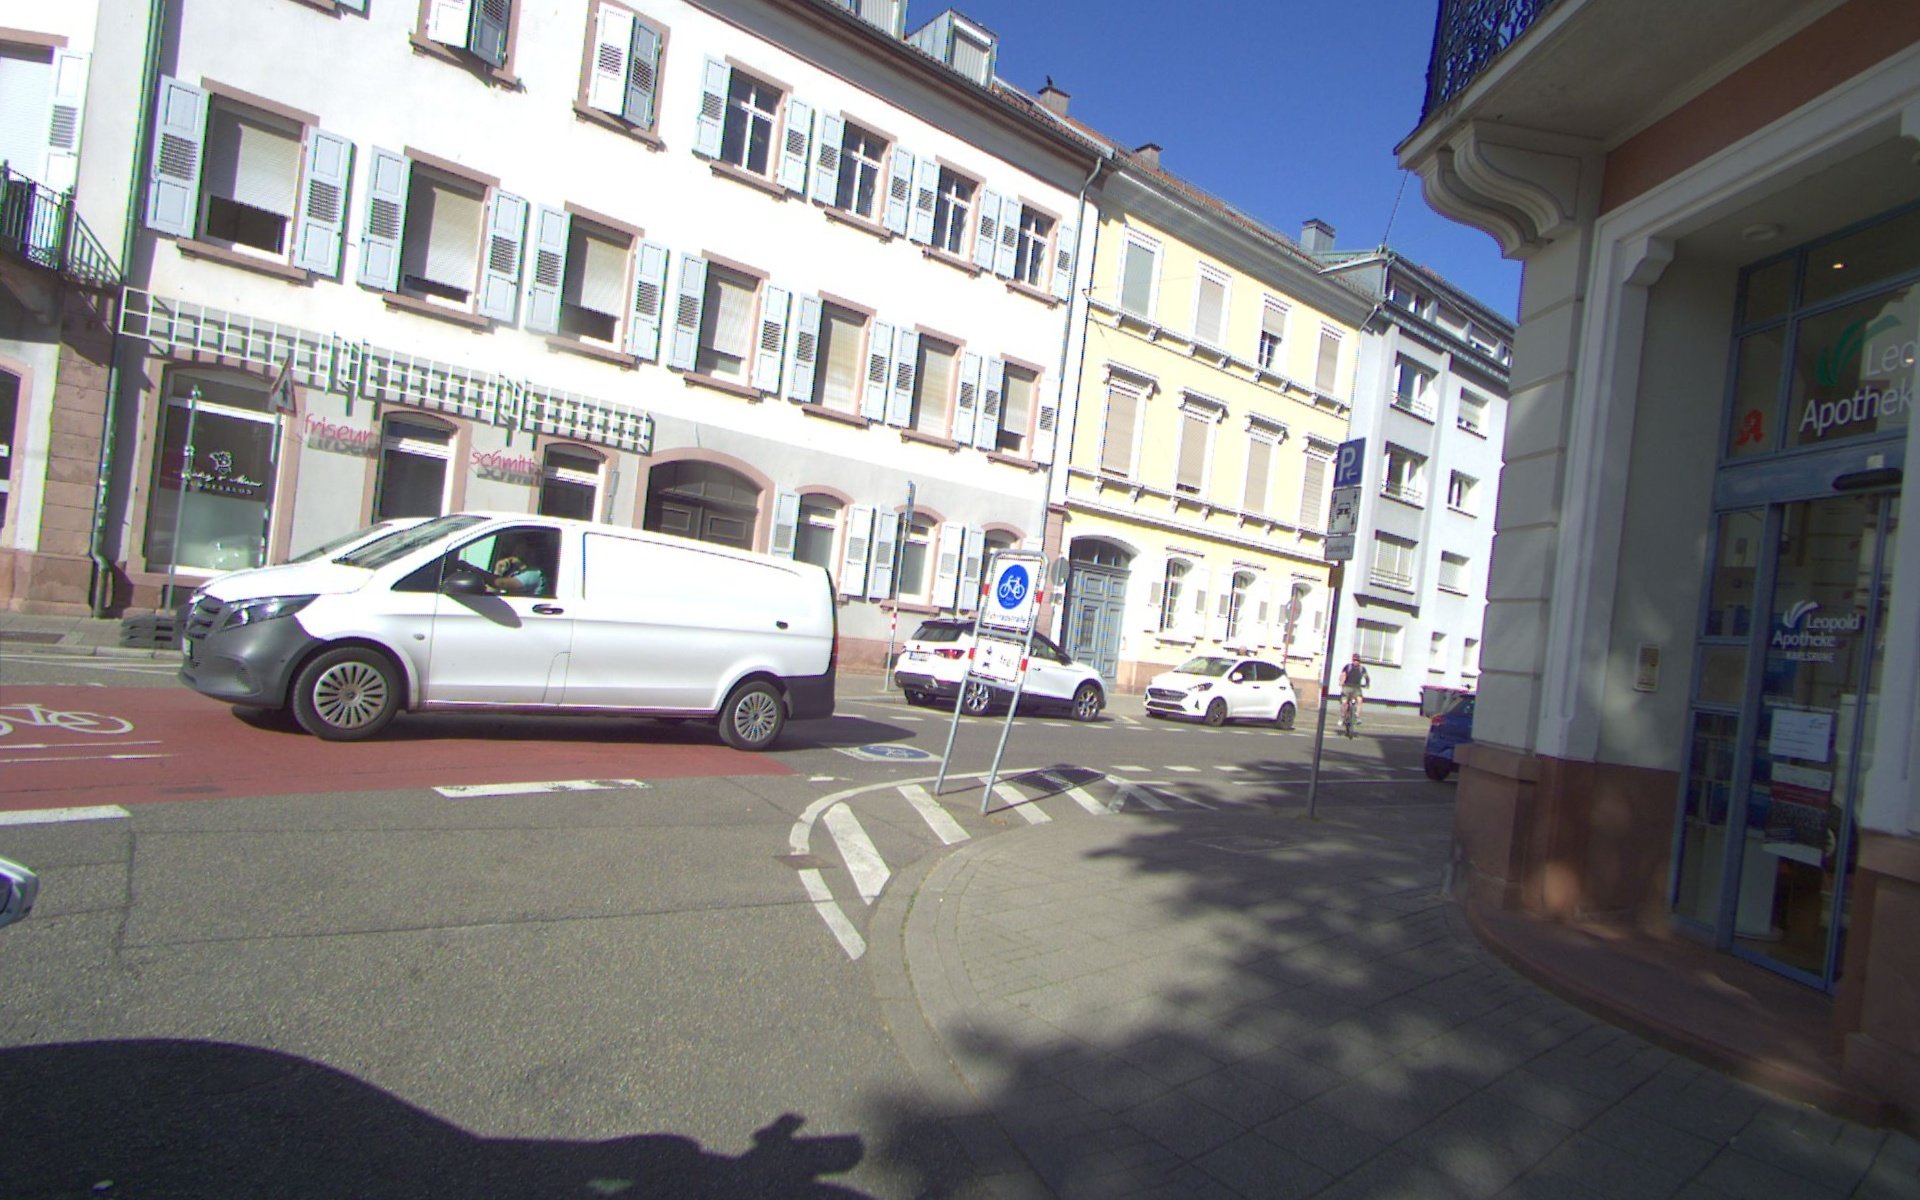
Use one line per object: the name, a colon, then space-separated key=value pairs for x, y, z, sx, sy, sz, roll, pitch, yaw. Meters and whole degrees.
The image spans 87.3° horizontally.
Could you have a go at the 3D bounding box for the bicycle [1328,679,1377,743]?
bicycle: x=8.505 y=2.372 z=21.874 sx=0.660 sy=1.214 sz=1.927 roll=7 pitch=-1 yaw=15

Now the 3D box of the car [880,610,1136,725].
car: x=0.931 y=1.213 z=17.554 sx=4.347 sy=1.559 sz=1.630 roll=8 pitch=-3 yaw=-38

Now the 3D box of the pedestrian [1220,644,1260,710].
pedestrian: x=7.316 y=2.005 z=26.258 sx=0.634 sy=1.620 sz=0.578 roll=7 pitch=0 yaw=-38

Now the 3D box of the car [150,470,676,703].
car: x=-6.188 y=-0.020 z=11.779 sx=4.989 sy=1.969 sz=2.028 roll=8 pitch=-1 yaw=-40

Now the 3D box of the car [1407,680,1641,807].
car: x=8.625 y=2.152 z=15.292 sx=3.608 sy=1.452 sz=1.689 roll=7 pitch=2 yaw=-38

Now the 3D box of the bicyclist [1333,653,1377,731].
bicyclist: x=8.506 y=1.967 z=21.692 sx=0.626 sy=1.565 sz=1.025 roll=7 pitch=0 yaw=16

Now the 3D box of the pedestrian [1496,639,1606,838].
pedestrian: x=5.798 y=1.342 z=9.922 sx=0.739 sy=1.784 sz=0.831 roll=5 pitch=-3 yaw=26

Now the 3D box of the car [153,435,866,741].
car: x=-3.690 y=0.113 z=9.119 sx=5.392 sy=1.930 sz=2.082 roll=8 pitch=-1 yaw=-44

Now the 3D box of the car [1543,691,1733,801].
car: x=12.447 y=2.649 z=18.417 sx=3.608 sy=1.557 sz=1.689 roll=6 pitch=2 yaw=-38

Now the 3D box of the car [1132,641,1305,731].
car: x=5.579 y=1.864 z=21.567 sx=3.610 sy=1.559 sz=1.616 roll=8 pitch=-3 yaw=-38
